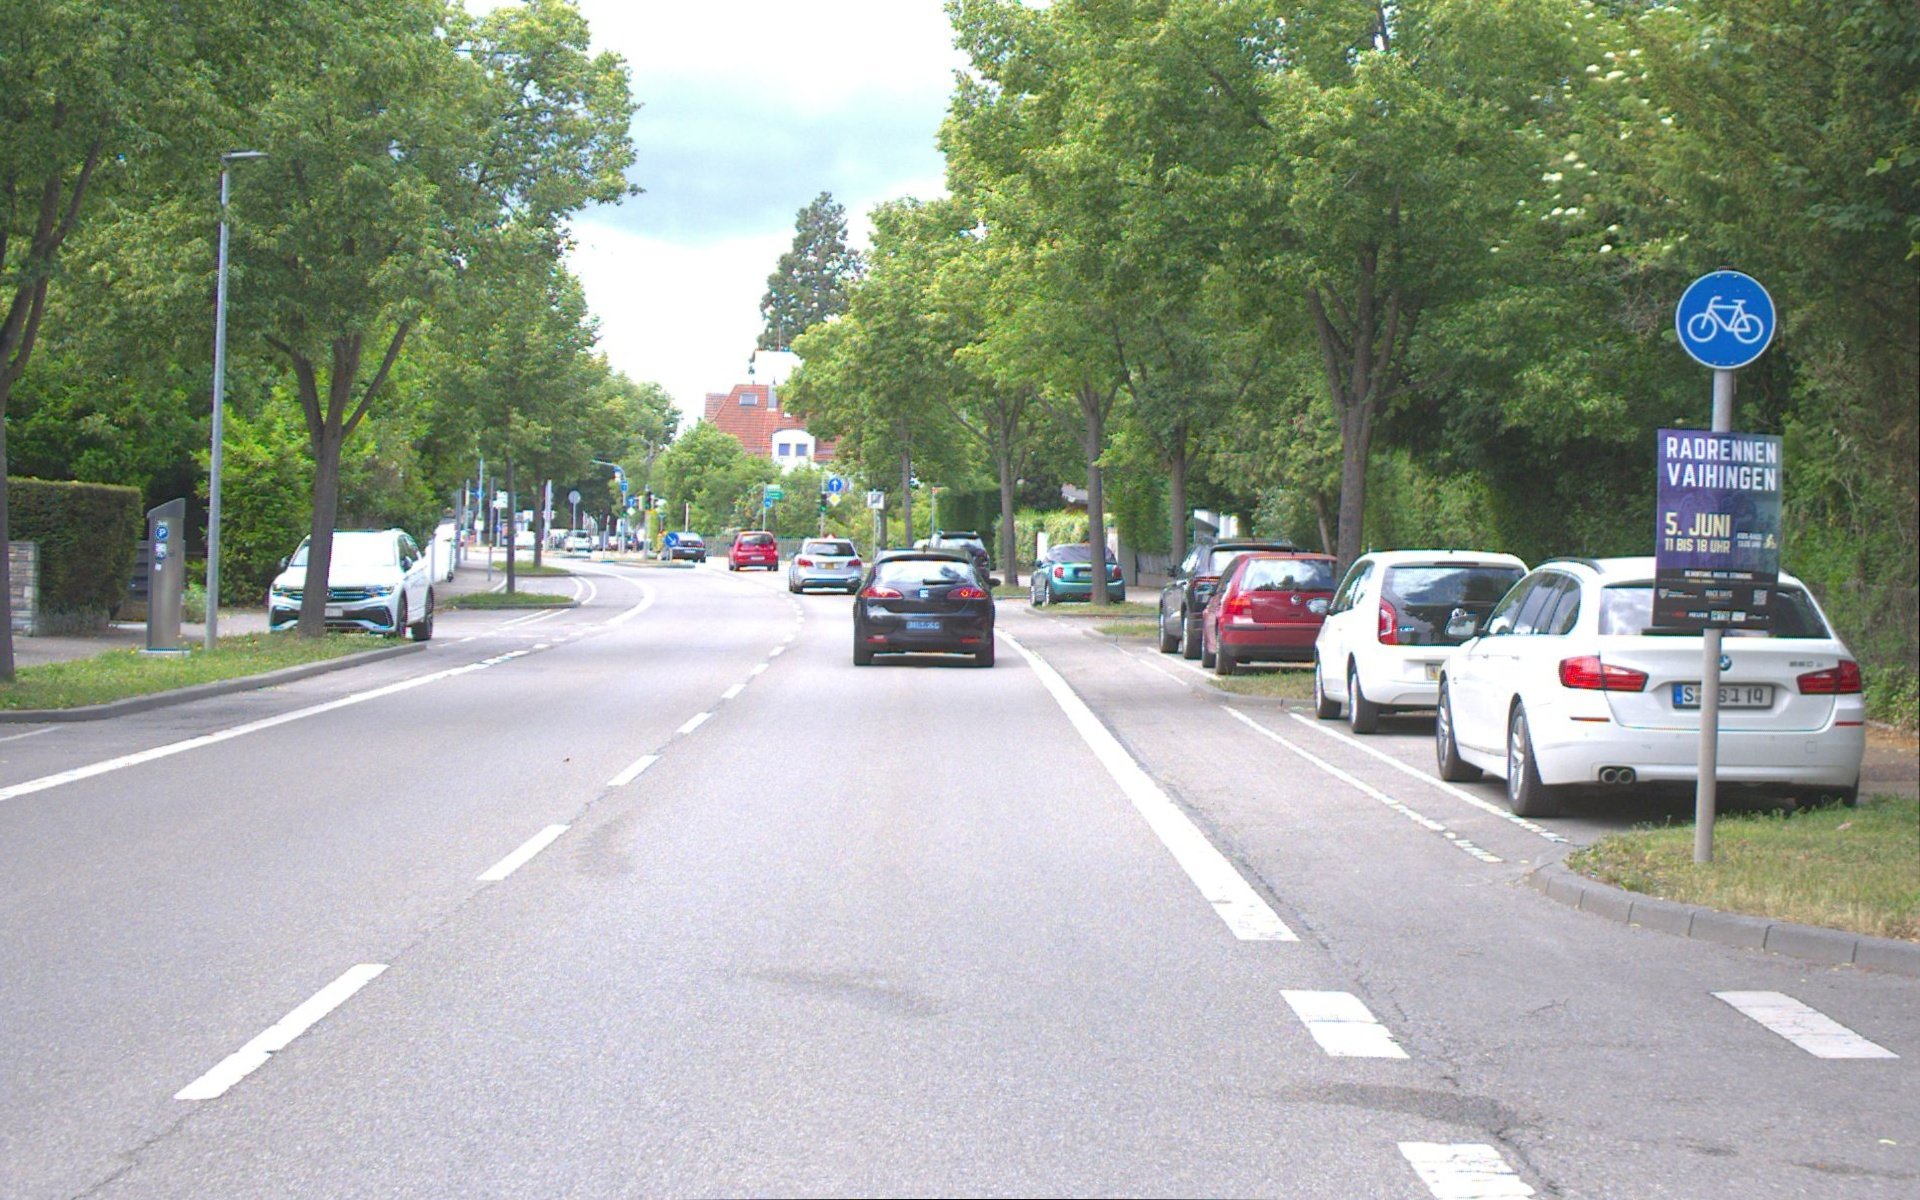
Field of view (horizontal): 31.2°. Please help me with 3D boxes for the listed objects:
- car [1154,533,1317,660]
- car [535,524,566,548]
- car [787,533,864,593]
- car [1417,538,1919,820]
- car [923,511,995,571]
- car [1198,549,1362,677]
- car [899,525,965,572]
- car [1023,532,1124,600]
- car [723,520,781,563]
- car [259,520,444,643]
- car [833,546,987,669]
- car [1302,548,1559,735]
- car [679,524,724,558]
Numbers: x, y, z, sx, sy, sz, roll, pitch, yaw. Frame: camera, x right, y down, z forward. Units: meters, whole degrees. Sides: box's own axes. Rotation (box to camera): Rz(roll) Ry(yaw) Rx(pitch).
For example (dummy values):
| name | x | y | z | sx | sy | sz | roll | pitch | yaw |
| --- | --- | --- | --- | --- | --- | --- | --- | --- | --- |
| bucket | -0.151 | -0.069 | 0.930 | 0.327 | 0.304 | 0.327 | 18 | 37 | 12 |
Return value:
| name | x | y | z | sx | sy | sz | roll | pitch | yaw |
| --- | --- | --- | --- | --- | --- | --- | --- | --- | --- |
| car | 3.669 | -0.086 | 46.396 | 1.638 | 1.610 | 4.170 | 1 | 1 | -3 |
| car | -29.539 | -4.647 | 248.074 | 1.973 | 1.670 | 3.877 | 1 | 1 | -4 |
| car | -3.594 | -1.000 | 91.571 | 1.993 | 1.552 | 4.000 | 0 | 1 | -2 |
| car | 4.101 | 0.370 | 20.617 | 2.021 | 1.438 | 5.025 | 1 | 1 | 0 |
| car | -0.053 | -1.769 | 103.317 | 1.788 | 1.765 | 3.983 | 1 | 1 | -5 |
| car | 3.757 | 0.117 | 40.920 | 1.638 | 1.415 | 4.000 | 0 | 1 | 1 |
| car | -0.919 | -1.627 | 109.262 | 1.685 | 1.444 | 3.580 | 1 | 1 | -7 |
| car | 2.482 | -0.773 | 75.920 | 1.683 | 1.427 | 4.045 | 1 | 1 | -6 |
| car | -7.708 | -2.161 | 127.141 | 1.993 | 1.525 | 4.001 | 1 | 1 | -6 |
| car | -8.768 | -0.302 | 49.902 | 1.873 | 1.682 | 4.866 | 0 | 1 | -1 |
| car | -0.661 | 0.067 | 42.804 | 1.783 | 1.444 | 3.558 | 1 | 1 | -3 |
| car | 3.901 | 0.304 | 29.008 | 1.615 | 1.455 | 3.657 | 0 | 1 | -1 |
| car | -12.171 | -2.781 | 161.888 | 1.993 | 1.503 | 4.001 | 1 | 0 | -5 |
